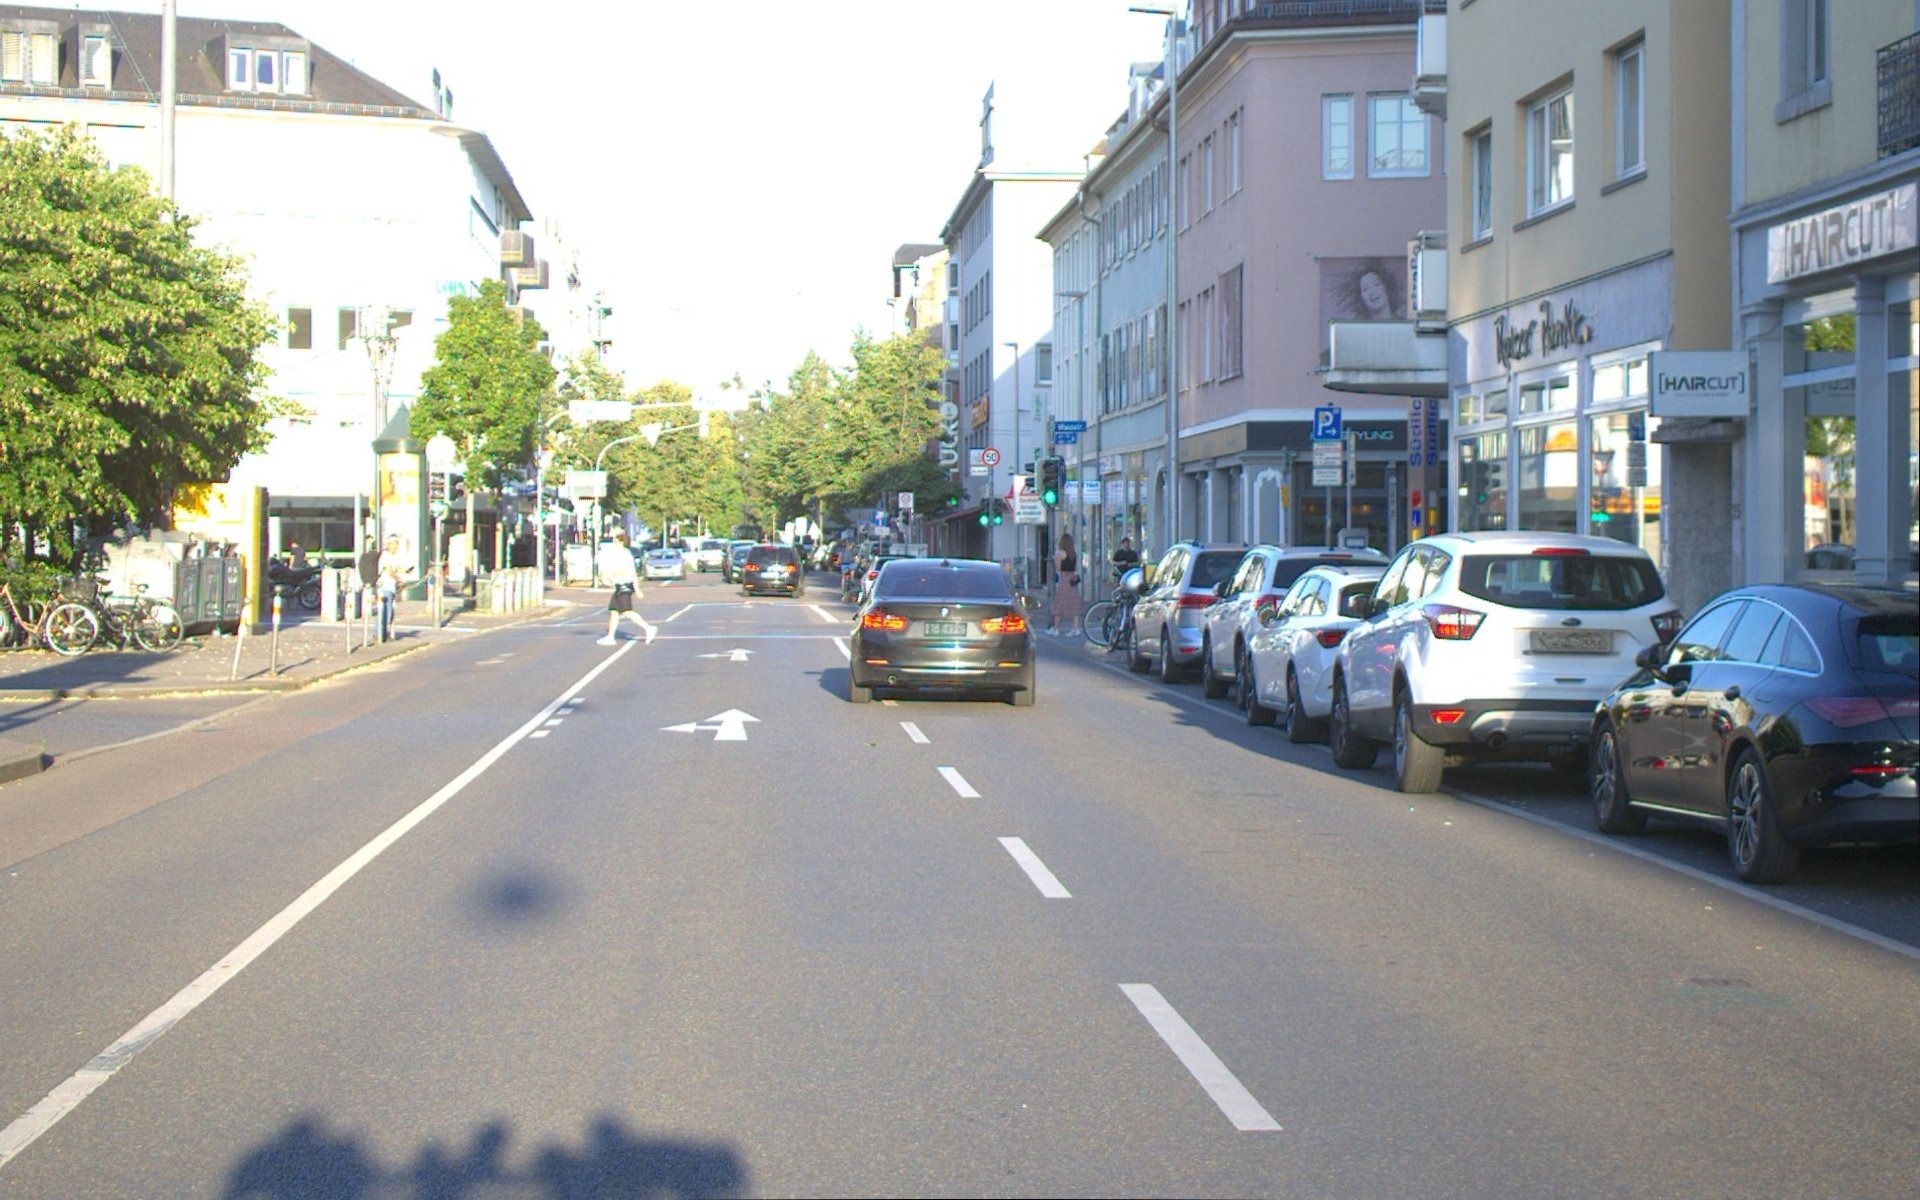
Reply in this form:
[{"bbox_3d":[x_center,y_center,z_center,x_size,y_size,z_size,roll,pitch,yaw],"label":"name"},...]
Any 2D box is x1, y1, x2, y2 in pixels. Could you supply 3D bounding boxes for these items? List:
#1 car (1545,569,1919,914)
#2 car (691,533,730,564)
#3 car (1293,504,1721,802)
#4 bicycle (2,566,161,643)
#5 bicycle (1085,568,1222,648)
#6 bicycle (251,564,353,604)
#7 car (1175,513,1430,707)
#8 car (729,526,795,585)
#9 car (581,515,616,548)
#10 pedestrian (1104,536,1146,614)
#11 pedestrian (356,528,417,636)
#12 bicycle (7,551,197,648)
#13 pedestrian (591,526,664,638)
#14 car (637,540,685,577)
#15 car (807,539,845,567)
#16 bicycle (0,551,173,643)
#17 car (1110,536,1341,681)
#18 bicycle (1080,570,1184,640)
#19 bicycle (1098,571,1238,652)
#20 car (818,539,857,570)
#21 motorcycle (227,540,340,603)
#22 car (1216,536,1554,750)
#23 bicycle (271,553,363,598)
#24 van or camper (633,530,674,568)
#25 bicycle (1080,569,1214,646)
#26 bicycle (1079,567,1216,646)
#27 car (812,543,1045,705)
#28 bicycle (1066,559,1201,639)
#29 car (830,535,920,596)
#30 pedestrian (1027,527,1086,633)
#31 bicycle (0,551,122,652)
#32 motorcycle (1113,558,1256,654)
[{"bbox_3d":[4.490,0.602,17.340,1.993,1.429,4.851,1,1,-3],"label":"car"},{"bbox_3d":[-14.117,-2.933,194.811,1.993,1.744,4.000,1,1,-2],"label":"car"},{"bbox_3d":[3.564,0.263,23.300,1.882,1.739,4.660,0,2,-3],"label":"car"},{"bbox_3d":[-12.258,0.063,48.005,2.042,0.967,0.636,2,1,-5],"label":"bicycle"},{"bbox_3d":[2.759,0.109,49.103,1.883,1.108,0.521,1,1,-6],"label":"bicycle"},{"bbox_3d":[-15.590,-0.382,81.516,2.327,0.916,0.701,0,1,-5],"label":"bicycle"},{"bbox_3d":[3.401,0.043,34.951,1.867,1.756,4.409,0,2,-4],"label":"car"},{"bbox_3d":[-6.078,-1.375,105.684,1.993,1.744,4.001,1,1,-3],"label":"car"},{"bbox_3d":[-22.356,-4.222,212.615,1.828,2.007,3.676,1,1,-2],"label":"car"},{"bbox_3d":[3.771,-0.579,78.741,0.757,1.771,1.049,1,1,-8],"label":"pedestrian"},{"bbox_3d":[-9.154,-0.293,54.887,0.881,1.714,0.716,1,1,-14],"label":"pedestrian"},{"bbox_3d":[-11.663,-0.006,46.764,2.430,1.233,0.518,2,1,-5],"label":"bicycle"},{"bbox_3d":[-5.139,-0.286,53.115,0.868,1.714,0.760,0,1,-28],"label":"pedestrian"},{"bbox_3d":[-13.329,-1.873,153.493,1.894,1.590,4.000,1,1,-2],"label":"car"},{"bbox_3d":[-7.722,-2.720,198.174,1.893,1.590,4.001,1,1,-6],"label":"car"},{"bbox_3d":[-12.130,-0.039,47.423,2.430,1.233,0.462,1,1,-5],"label":"bicycle"},{"bbox_3d":[3.081,0.058,40.890,1.993,1.607,4.804,0,1,-5],"label":"car"},{"bbox_3d":[2.602,0.068,52.003,1.499,1.022,0.512,-1,1,-7],"label":"bicycle"},{"bbox_3d":[2.916,0.159,48.277,1.883,1.109,0.593,1,-1,-6],"label":"bicycle"},{"bbox_3d":[-6.630,-2.460,185.619,1.780,1.590,3.635,1,1,-6],"label":"car"},{"bbox_3d":[-15.408,-0.648,78.363,2.412,1.421,1.113,0,1,-4],"label":"motorcycle"},{"bbox_3d":[3.476,0.289,29.077,2.015,1.538,4.870,0,2,-3],"label":"car"},{"bbox_3d":[-16.350,-0.635,87.488,2.235,1.131,0.812,0,1,-5],"label":"bicycle"},{"bbox_3d":[-19.966,-3.349,223.658,2.472,2.397,4.001,1,1,-7],"label":"van or camper"},{"bbox_3d":[2.785,0.108,51.414,1.883,1.108,0.762,1,1,-6],"label":"bicycle"},{"bbox_3d":[2.705,0.093,49.641,1.883,1.108,0.602,1,1,-6],"label":"bicycle"},{"bbox_3d":[-0.382,0.188,34.235,1.888,1.487,4.205,1,1,-6],"label":"car"},{"bbox_3d":[2.545,-0.015,50.585,1.883,1.163,0.723,0,1,-6],"label":"bicycle"},{"bbox_3d":[-2.349,-0.966,94.324,2.334,1.598,3.894,1,1,-3],"label":"car"},{"bbox_3d":[1.590,-0.332,56.597,0.794,1.714,0.812,1,1,-10],"label":"pedestrian"},{"bbox_3d":[-12.344,0.007,45.216,2.505,1.279,0.815,1,1,17],"label":"bicycle"},{"bbox_3d":[3.016,0.074,46.239,1.812,1.259,0.716,-1,1,-6],"label":"motorcycle"}]
